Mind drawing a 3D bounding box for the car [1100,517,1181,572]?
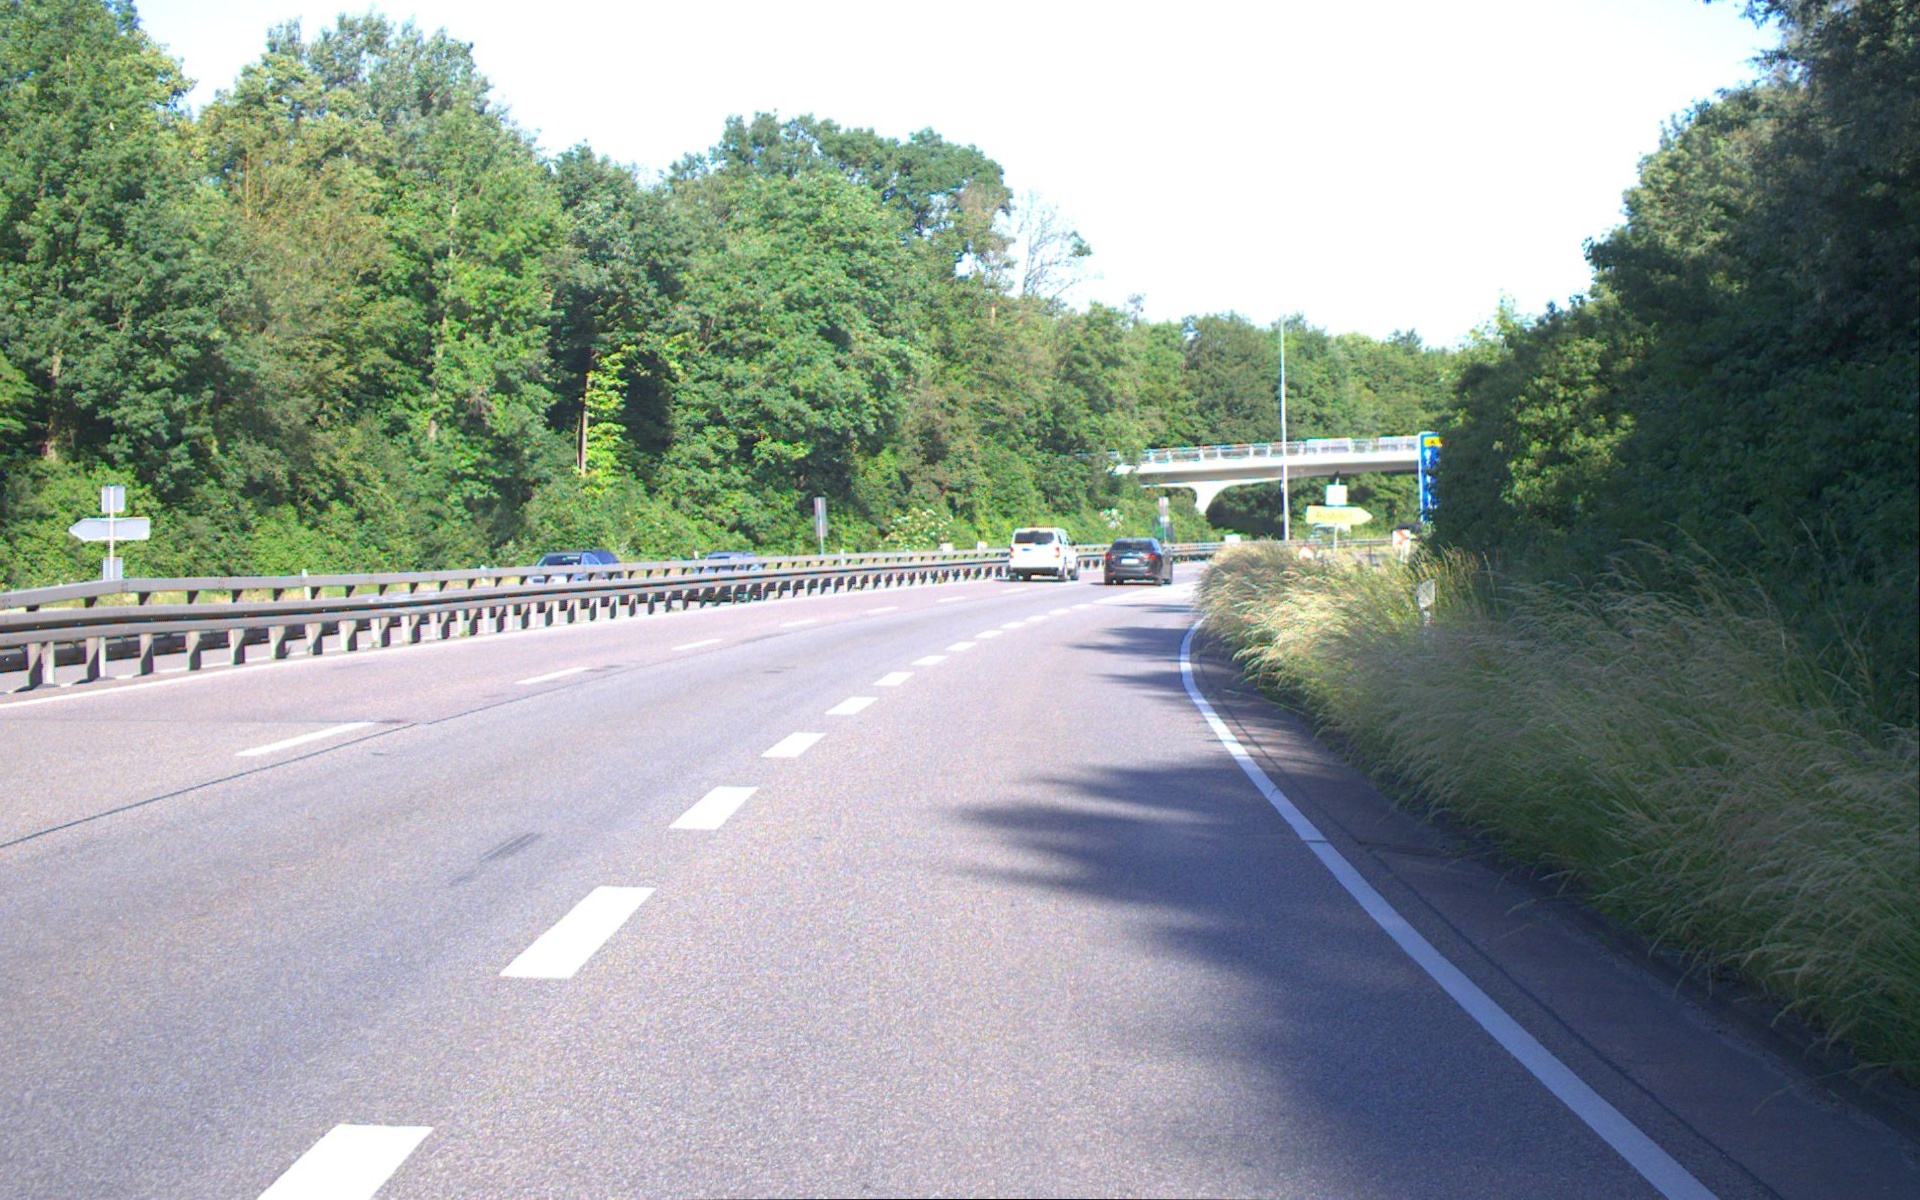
[{"bbox_3d":[5.636,-1.729,107.058,1.740,1.656,3.943,-1,1,15],"label":"car"}]

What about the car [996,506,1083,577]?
[{"bbox_3d":[2.638,-1.936,113.057,1.995,2.269,3.998,-1,1,14],"label":"car"}]
